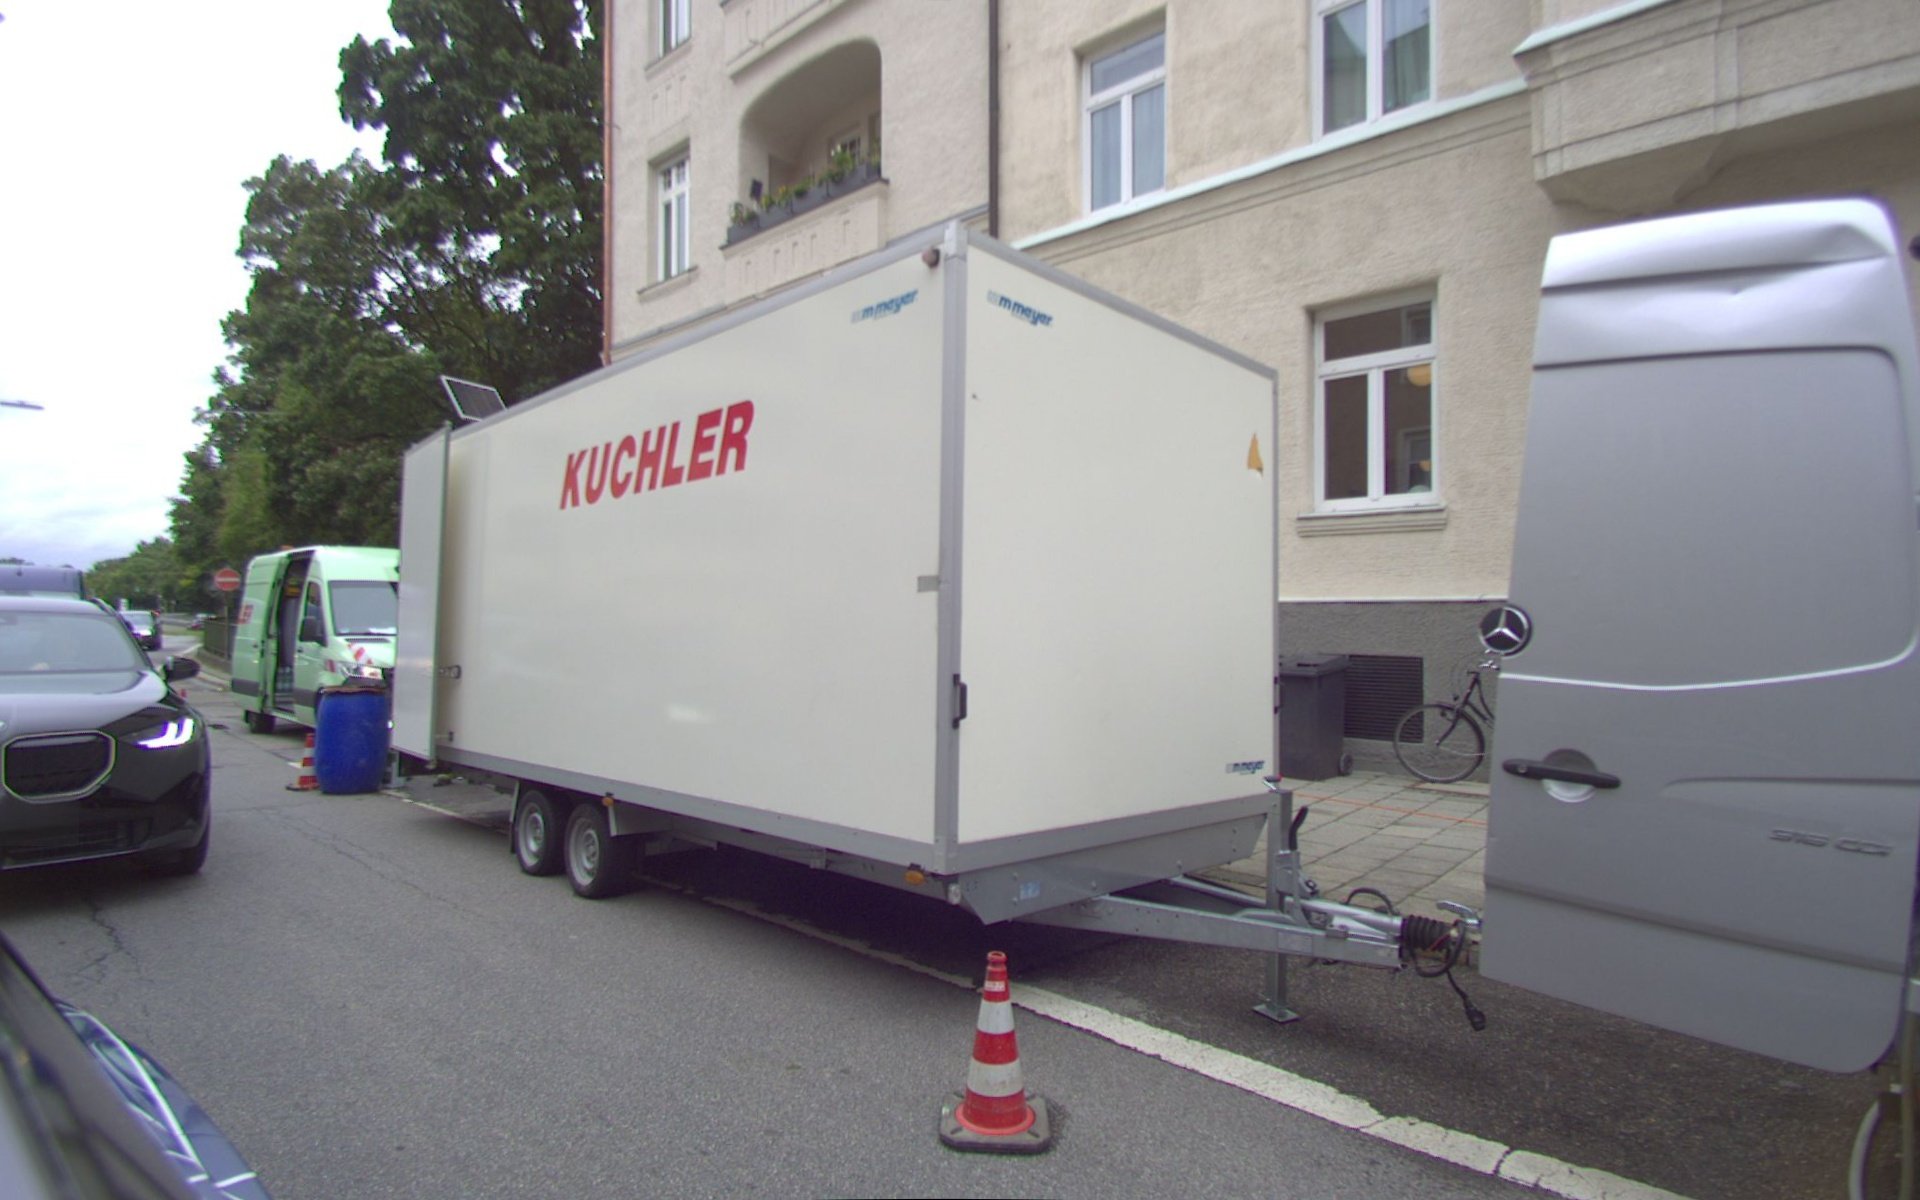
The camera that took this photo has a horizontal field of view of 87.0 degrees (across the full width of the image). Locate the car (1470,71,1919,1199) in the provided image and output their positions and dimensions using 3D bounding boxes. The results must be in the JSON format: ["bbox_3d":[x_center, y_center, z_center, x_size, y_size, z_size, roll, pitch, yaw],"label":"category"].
[{"bbox_3d":[4.525,0.231,1.039,6.875,2.607,2.034,-1,-6,42],"label":"car"}]

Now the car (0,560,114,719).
[{"bbox_3d":[-16.971,0.628,18.414,1.974,2.510,6.247,1,0,-36],"label":"car"}]

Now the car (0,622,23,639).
[{"bbox_3d":[-79.200,2.536,84.023,1.810,1.409,4.006,3,-3,-41],"label":"car"}]

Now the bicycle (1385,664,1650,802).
[{"bbox_3d":[4.405,1.012,8.116,0.391,0.930,1.804,-2,0,-44],"label":"bicycle"}]

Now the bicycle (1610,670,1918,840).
[{"bbox_3d":[5.412,0.994,6.910,0.389,0.921,1.592,-3,2,-35],"label":"bicycle"}]

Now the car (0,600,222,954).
[{"bbox_3d":[-5.760,0.800,6.087,1.892,1.577,4.302,2,-1,-39],"label":"car"}]

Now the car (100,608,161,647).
[{"bbox_3d":[-35.551,1.184,43.480,1.790,1.474,4.172,6,-5,-38],"label":"car"}]

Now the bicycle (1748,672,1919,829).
[{"bbox_3d":[6.224,0.983,6.515,0.410,0.921,1.759,-3,2,-42],"label":"bicycle"}]

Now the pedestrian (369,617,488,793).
[{"bbox_3d":[-5.055,0.961,9.655,0.633,1.592,0.757,0,-2,25],"label":"pedestrian"}]

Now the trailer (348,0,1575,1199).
[{"bbox_3d":[-0.988,0.127,6.129,7.603,2.992,2.771,-2,-6,45],"label":"trailer"}]

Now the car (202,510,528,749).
[{"bbox_3d":[-8.529,0.387,14.084,6.795,2.592,2.117,-2,-2,43],"label":"car"}]

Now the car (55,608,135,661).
[{"bbox_3d":[-29.421,1.180,34.527,1.790,1.601,4.172,6,-5,-38],"label":"car"}]

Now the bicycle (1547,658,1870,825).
[{"bbox_3d":[5.314,0.953,7.289,0.426,1.013,1.804,-2,0,-44],"label":"bicycle"}]
